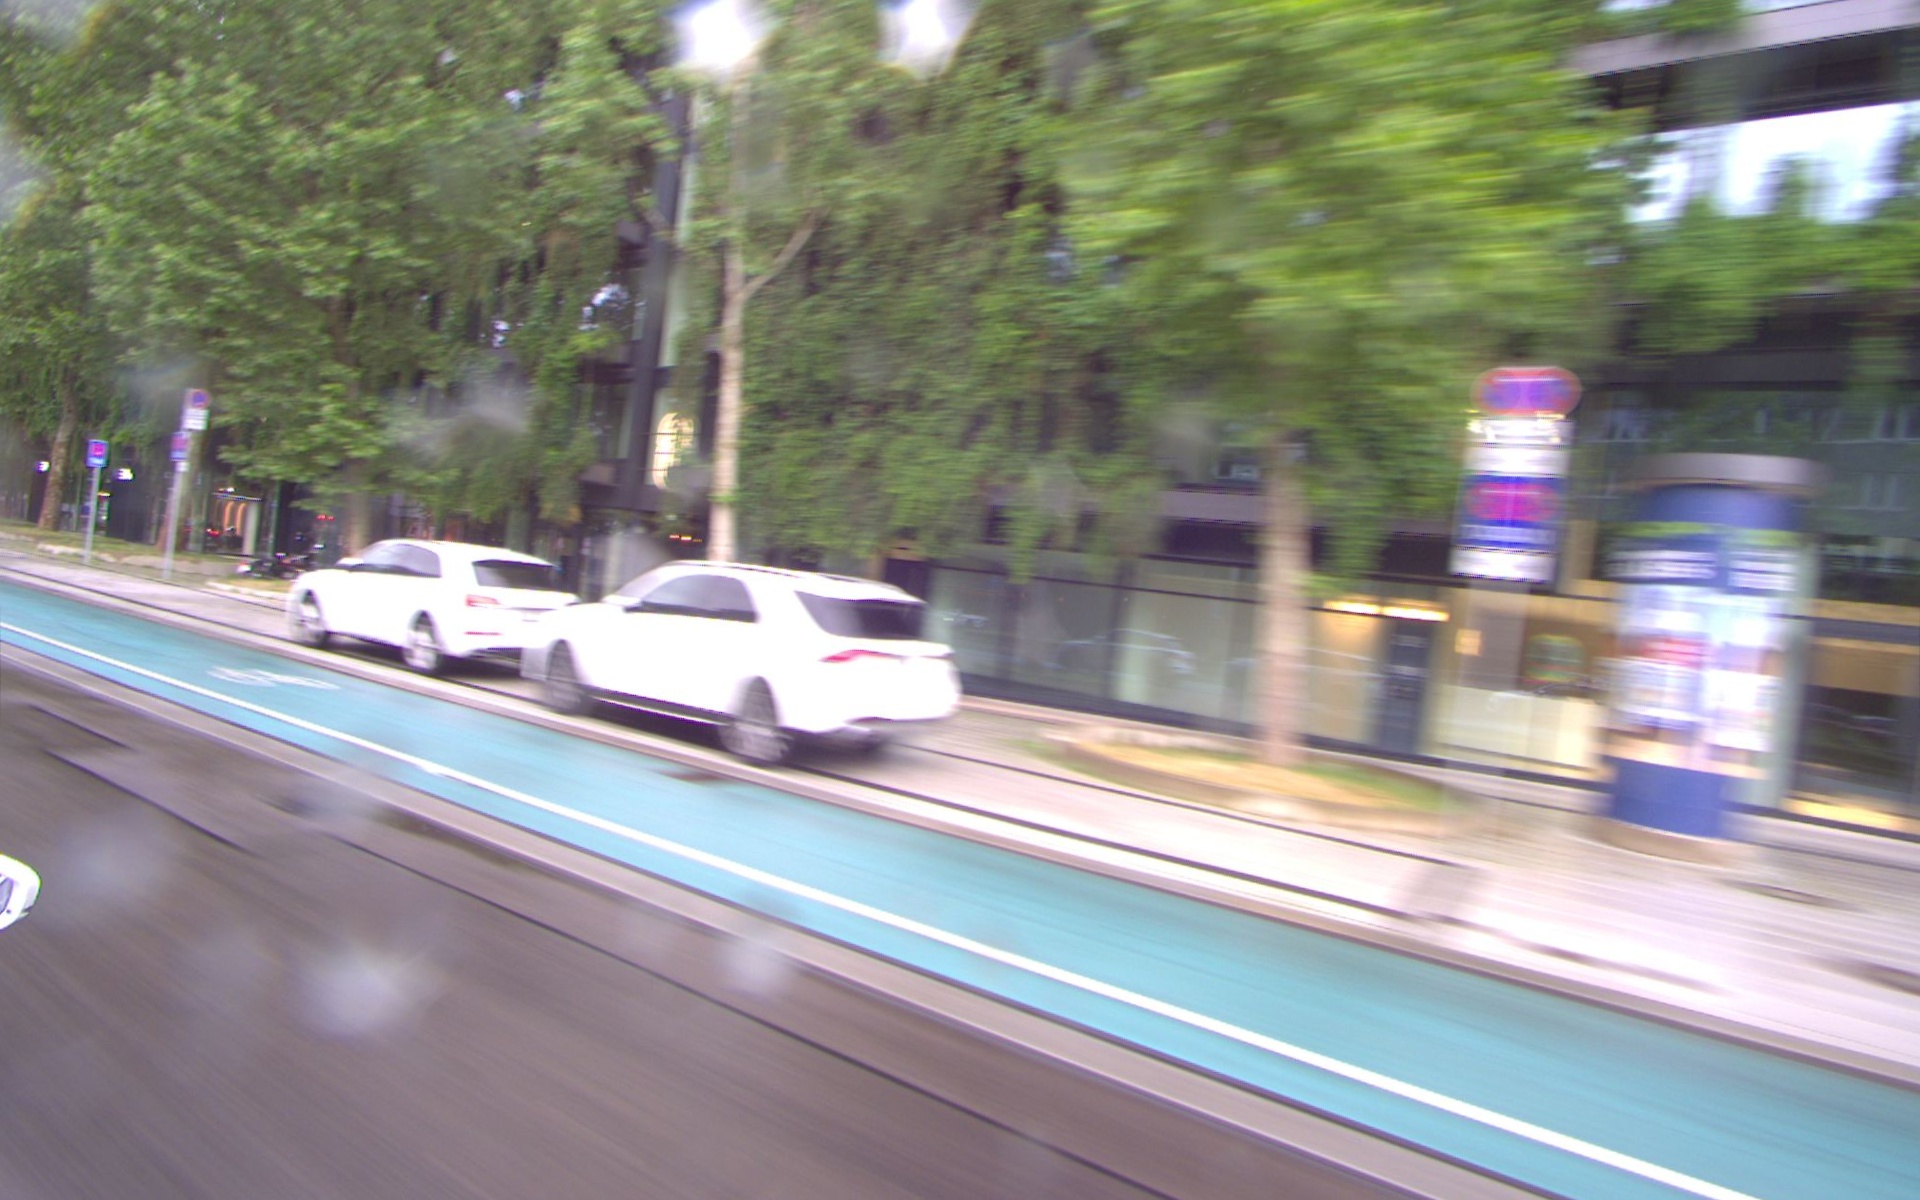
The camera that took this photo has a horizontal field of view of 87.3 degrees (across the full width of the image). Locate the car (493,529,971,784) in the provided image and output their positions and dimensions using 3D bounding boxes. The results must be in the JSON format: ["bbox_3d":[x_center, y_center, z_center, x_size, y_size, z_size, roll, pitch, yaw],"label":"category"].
[{"bbox_3d":[-2.561,0.443,10.614,5.012,1.861,1.844,7,1,34],"label":"car"}]

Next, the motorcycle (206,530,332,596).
[{"bbox_3d":[-17.704,-0.927,25.842,1.035,1.284,2.313,7,-2,31],"label":"motorcycle"}]

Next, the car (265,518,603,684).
[{"bbox_3d":[-7.322,-0.017,13.869,4.706,1.652,1.846,7,-1,31],"label":"car"}]
